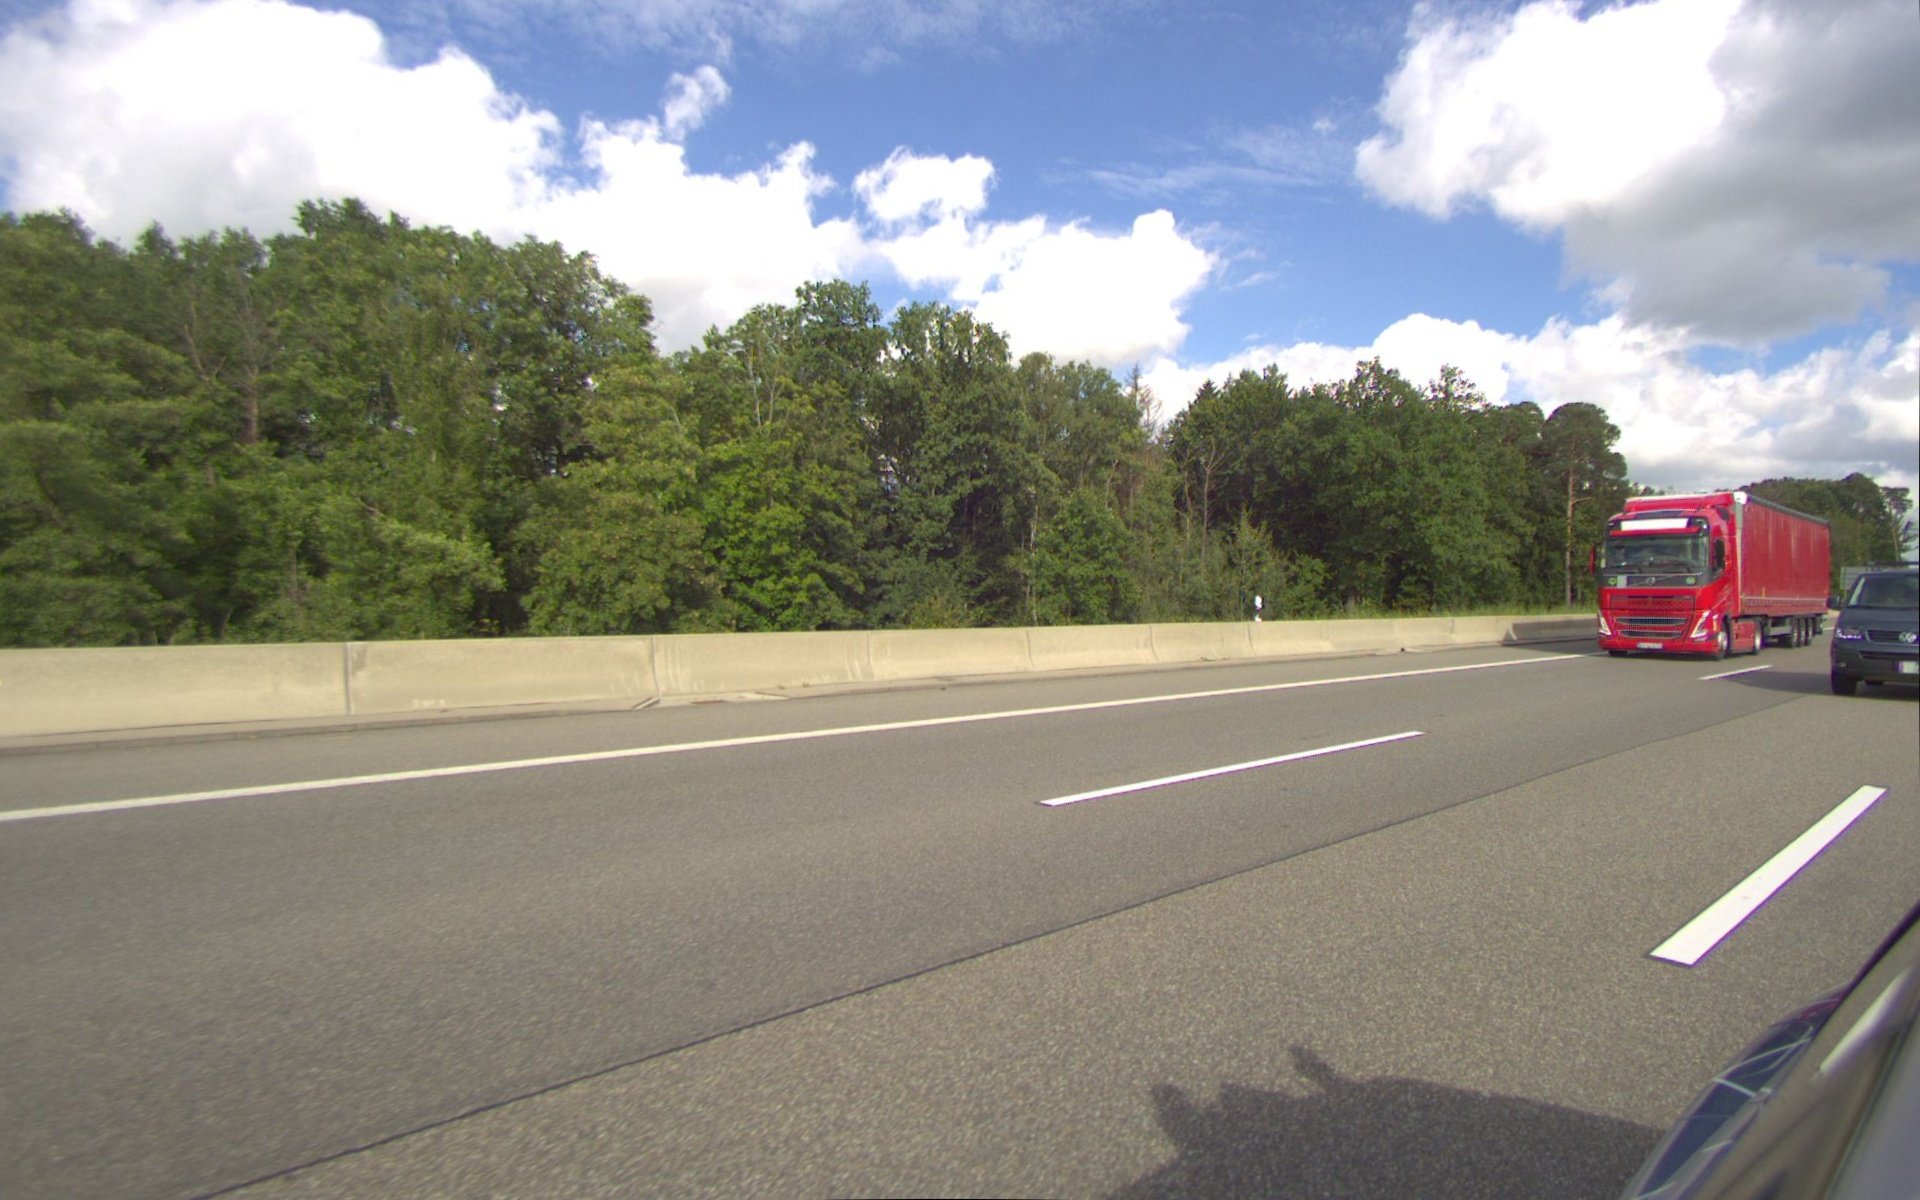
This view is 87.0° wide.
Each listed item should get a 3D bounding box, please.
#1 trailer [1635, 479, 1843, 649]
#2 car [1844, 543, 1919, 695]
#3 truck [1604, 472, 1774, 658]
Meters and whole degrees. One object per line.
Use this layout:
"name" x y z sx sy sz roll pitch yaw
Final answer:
"trailer" 23.858 -0.930 30.471 14.131 4.171 2.528 0 1 -42
"car" 15.757 0.303 16.146 4.876 2.193 1.925 1 0 -42
"truck" 18.464 -0.831 25.582 4.572 4.255 2.530 0 0 -41
